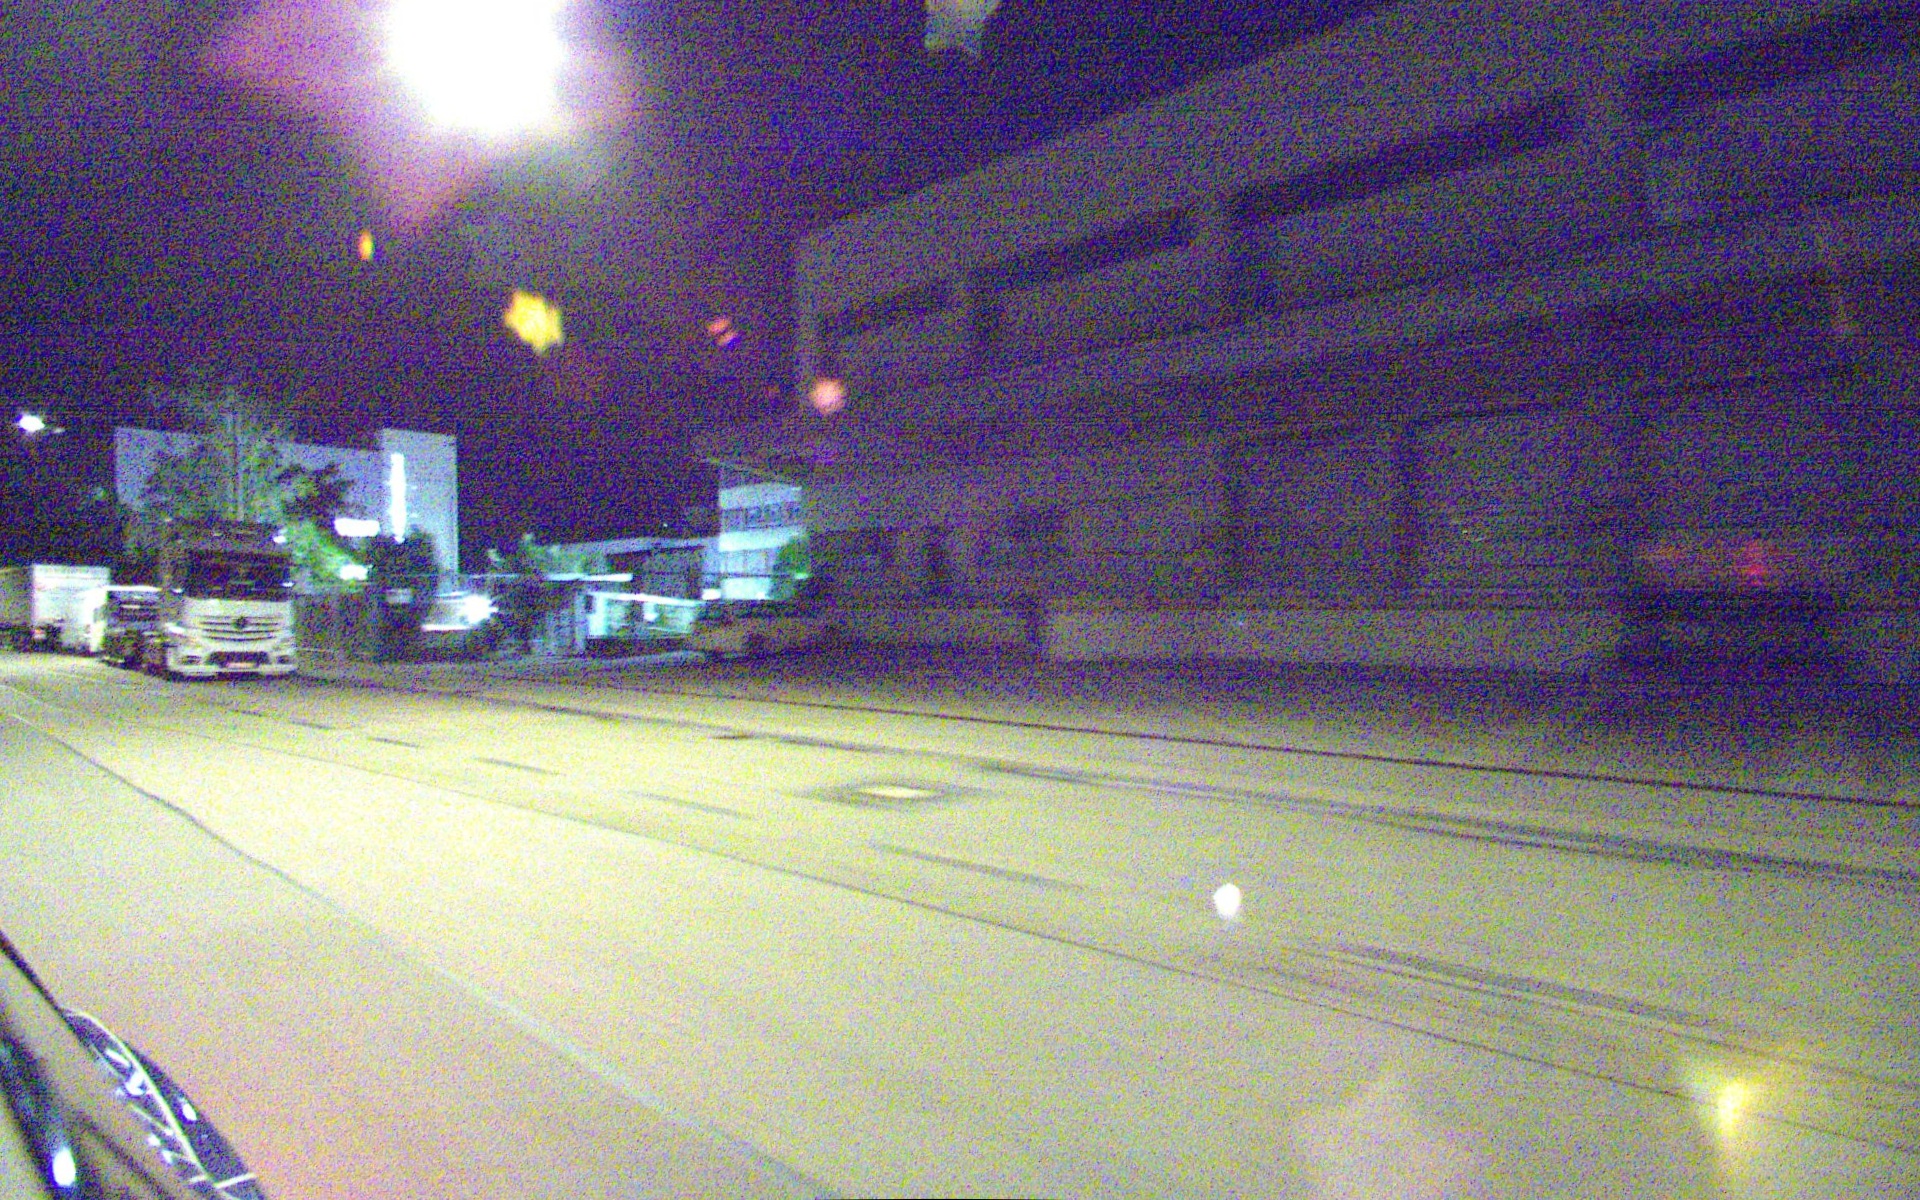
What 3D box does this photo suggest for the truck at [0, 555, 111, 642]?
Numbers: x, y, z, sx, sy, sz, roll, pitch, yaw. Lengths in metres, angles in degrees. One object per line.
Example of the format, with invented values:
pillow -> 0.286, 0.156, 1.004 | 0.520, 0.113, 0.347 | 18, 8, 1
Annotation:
truck -> -42.340, -0.037, 46.703 | 10.388, 3.659, 2.794 | -1, 1, 39

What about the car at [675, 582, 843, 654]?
car -> -5.111, 0.403, 26.107 | 1.804, 1.474, 3.949 | -1, 4, 39

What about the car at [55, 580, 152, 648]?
car -> -33.669, 0.531, 39.714 | 5.741, 2.461, 1.973 | -1, 1, 41

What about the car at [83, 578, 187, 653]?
car -> -27.866, 0.486, 34.128 | 4.469, 2.330, 2.116 | -1, 1, 43

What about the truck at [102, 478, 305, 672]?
truck -> -21.343, -0.405, 28.078 | 12.829, 4.347, 2.608 | -2, -2, 45
